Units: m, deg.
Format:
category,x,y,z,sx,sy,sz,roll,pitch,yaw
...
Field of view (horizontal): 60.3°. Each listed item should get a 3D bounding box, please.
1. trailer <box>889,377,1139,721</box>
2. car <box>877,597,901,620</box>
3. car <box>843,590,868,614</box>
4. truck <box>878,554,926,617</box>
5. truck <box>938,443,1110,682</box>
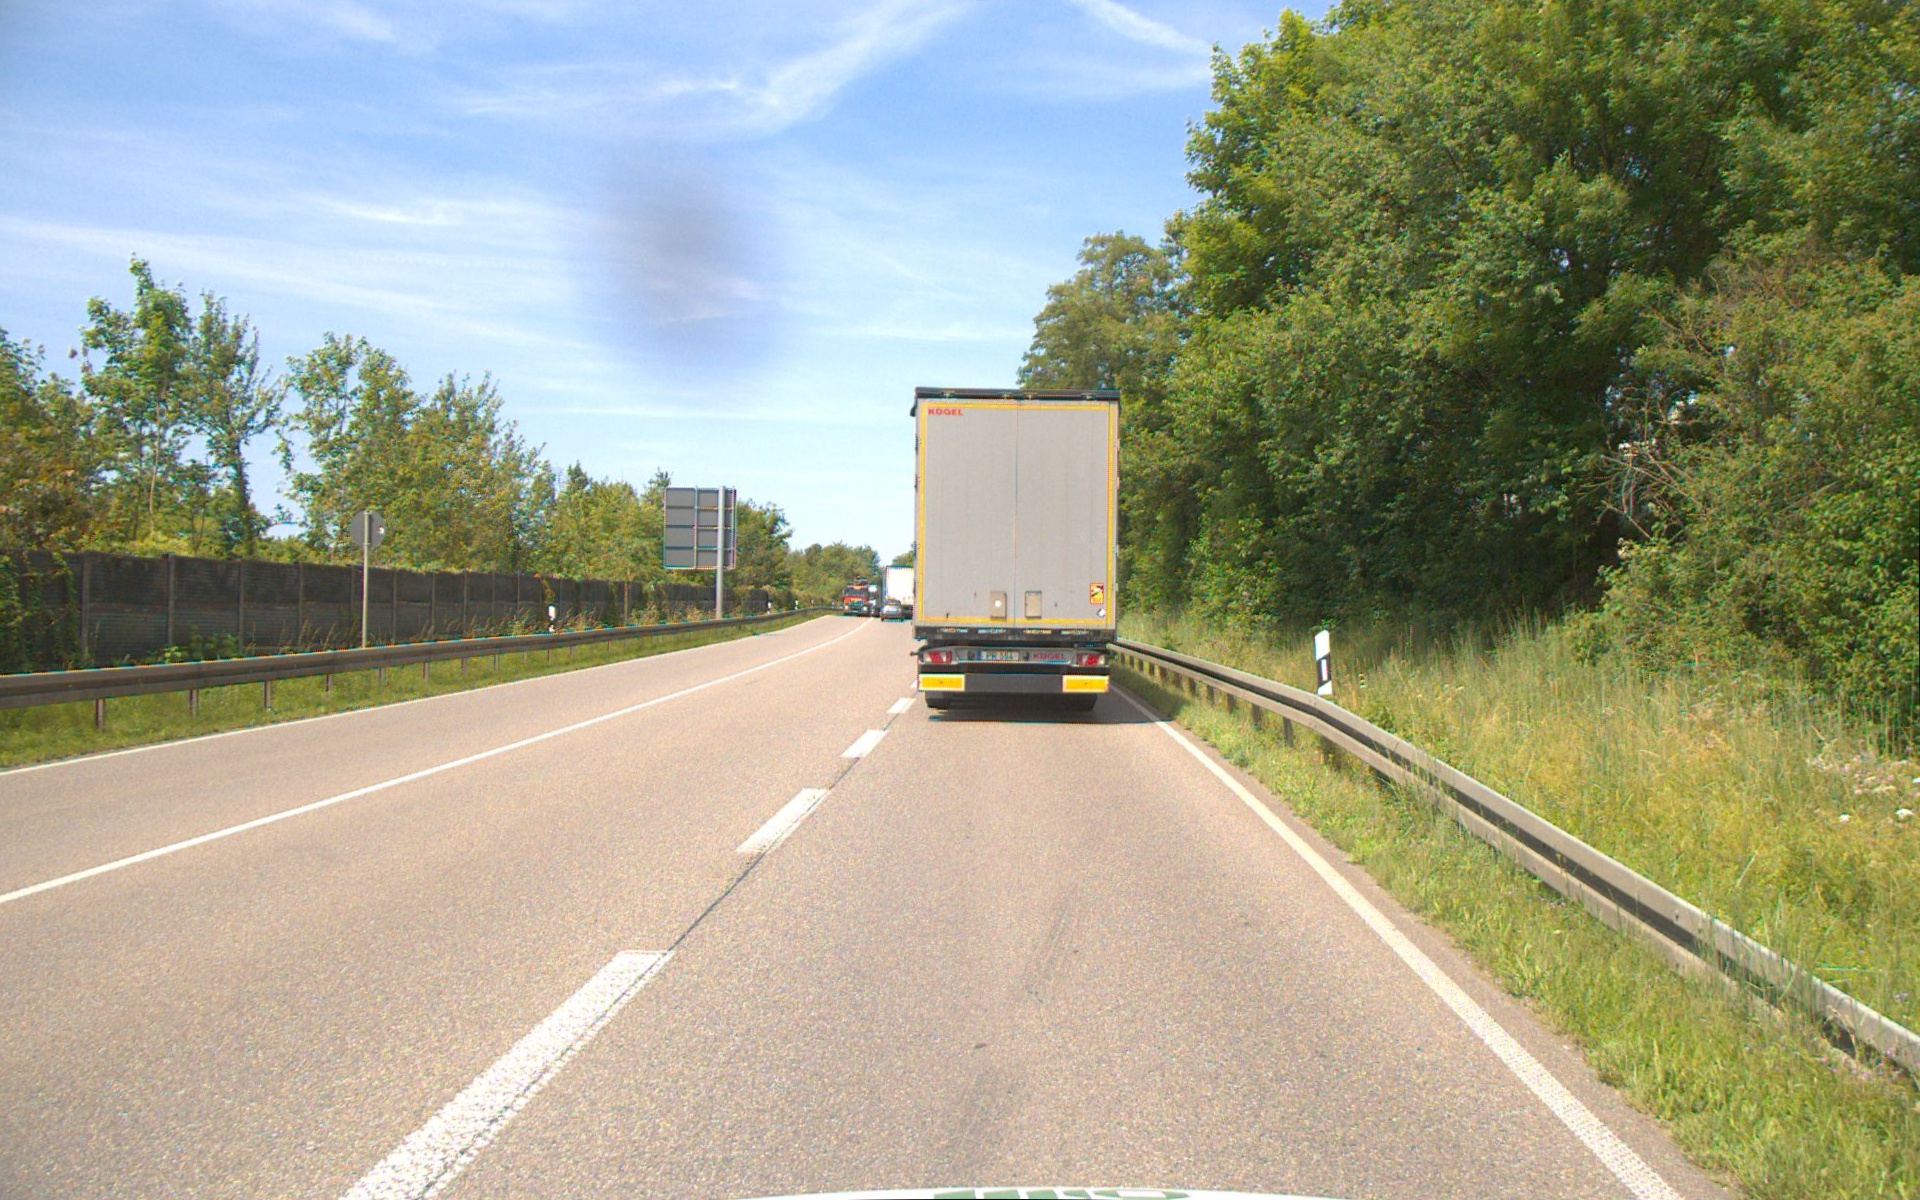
category,x,y,z,sx,sy,sz,roll,pitch,yaw
trailer,0.983,-0.595,26.540,2.964,4.105,13.356,1,0,3
car,-4.994,0.593,116.748,1.632,1.512,3.998,1,0,-3
car,-10.920,0.197,172.874,2.564,2.465,5.823,-1,0,-4
truck,-4.773,-1.105,135.963,3.751,4.827,16.195,0,0,-2
truck,1.328,-0.664,33.345,3.087,4.299,7.124,0,0,3
